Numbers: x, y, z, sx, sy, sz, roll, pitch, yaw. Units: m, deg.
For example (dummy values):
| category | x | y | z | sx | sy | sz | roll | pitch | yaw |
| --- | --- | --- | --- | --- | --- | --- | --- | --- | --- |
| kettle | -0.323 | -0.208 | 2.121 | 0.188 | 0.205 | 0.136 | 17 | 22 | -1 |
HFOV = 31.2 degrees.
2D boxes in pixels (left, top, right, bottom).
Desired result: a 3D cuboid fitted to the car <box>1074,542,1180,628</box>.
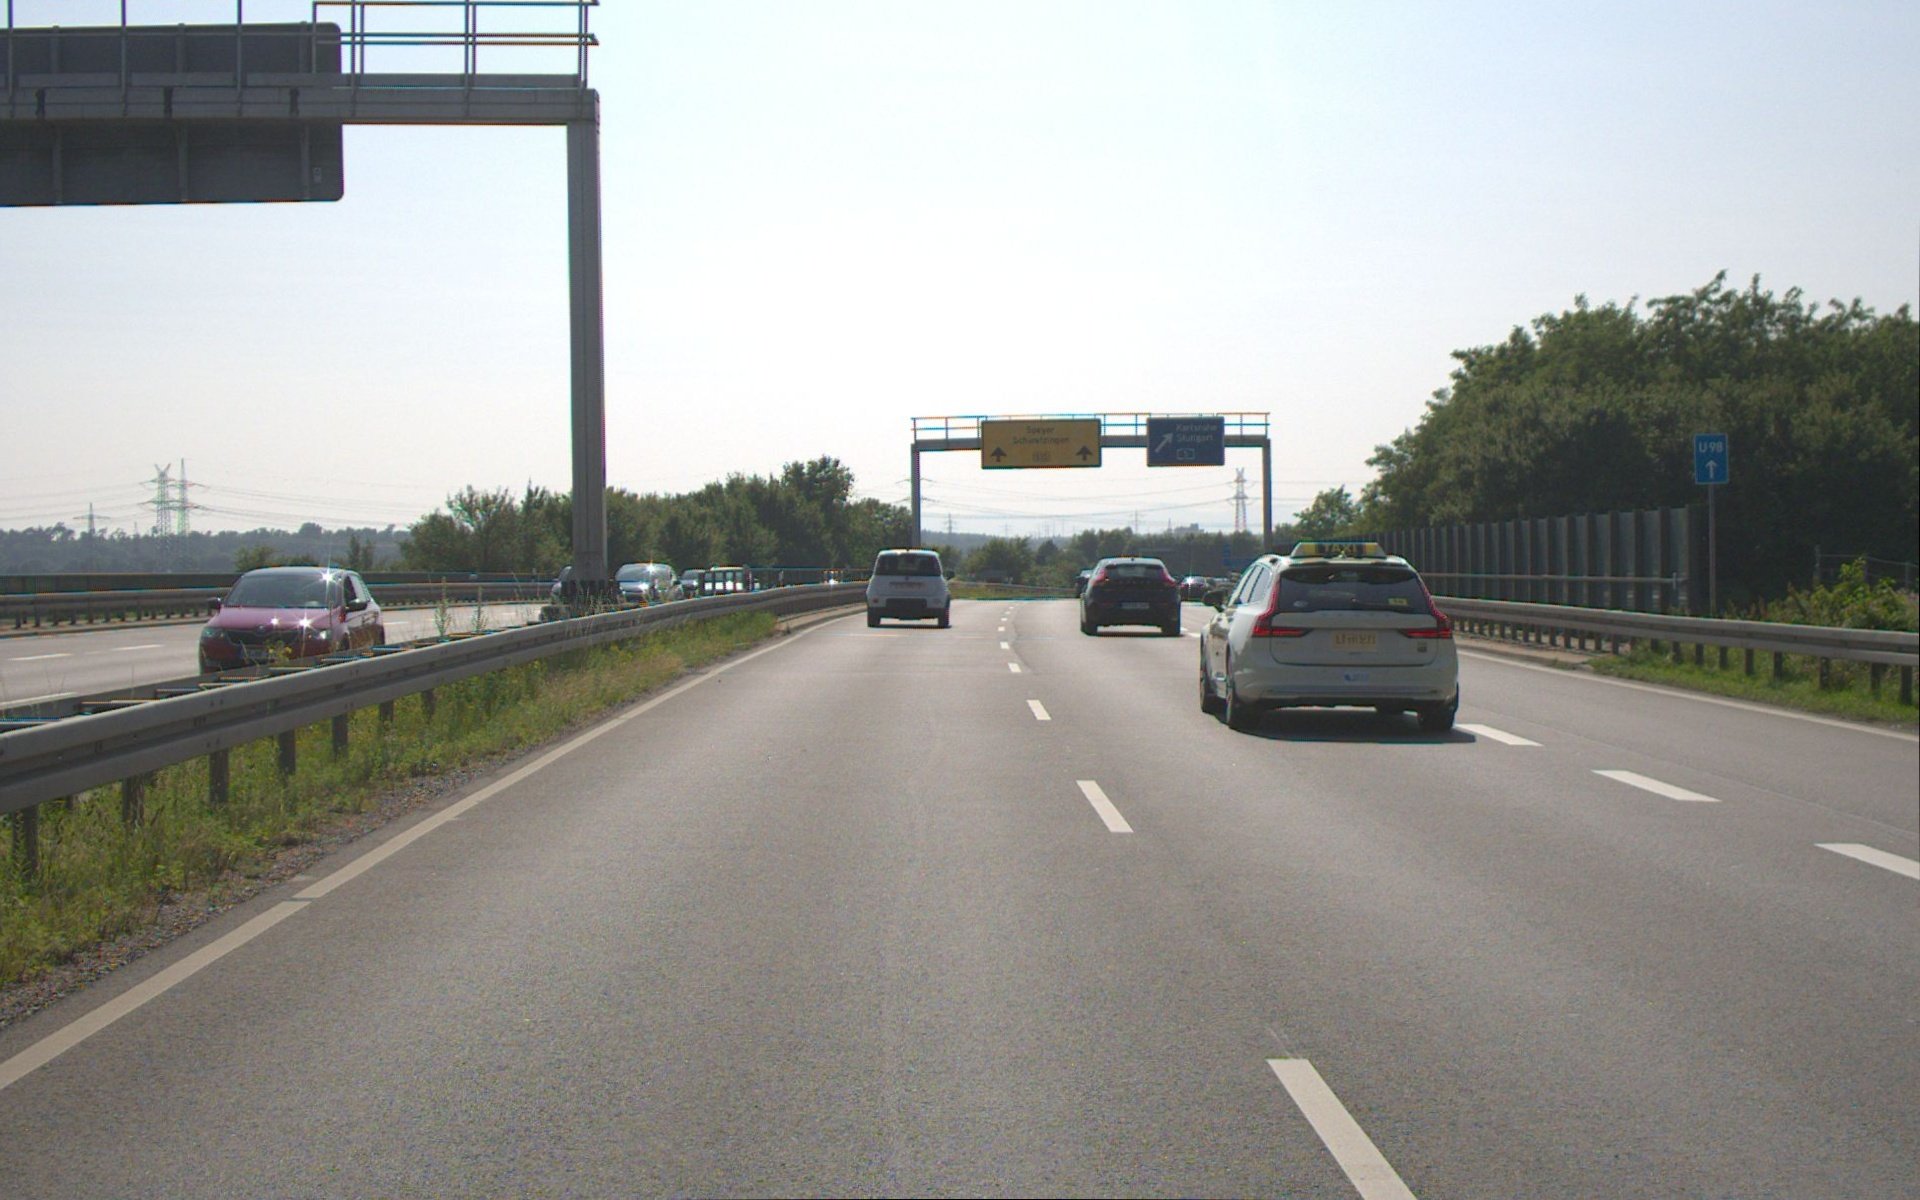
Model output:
| category | x | y | z | sx | sy | sz | roll | pitch | yaw |
| --- | --- | --- | --- | --- | --- | --- | --- | --- | --- |
| car | 3.087 | -0.273 | 64.124 | 1.793 | 1.538 | 3.671 | 1 | 0 | 0 |

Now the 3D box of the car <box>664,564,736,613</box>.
| category | x | y | z | sx | sy | sz | roll | pitch | yaw |
| --- | --- | --- | --- | --- | --- | --- | --- | --- | --- |
| car | -8.024 | -0.363 | 106.424 | 1.873 | 1.433 | 4.502 | 1 | 1 | 0 |

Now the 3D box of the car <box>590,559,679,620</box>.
| category | x | y | z | sx | sy | sz | roll | pitch | yaw |
| --- | --- | --- | --- | --- | --- | --- | --- | --- | --- |
| car | -8.358 | -0.286 | 88.467 | 1.795 | 1.468 | 4.000 | 1 | 1 | 1 |

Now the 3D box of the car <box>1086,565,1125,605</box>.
| category | x | y | z | sx | sy | sz | roll | pitch | yaw |
| --- | --- | --- | --- | --- | --- | --- | --- | --- | --- |
| car | 7.564 | -0.806 | 179.099 | 1.994 | 2.007 | 4.000 | 1 | 1 | 2 |

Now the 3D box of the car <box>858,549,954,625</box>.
| category | x | y | z | sx | sy | sz | roll | pitch | yaw |
| --- | --- | --- | --- | --- | --- | --- | --- | --- | --- |
| car | -1.073 | -0.255 | 69.710 | 1.793 | 1.498 | 4.043 | 0 | 0 | 1 |

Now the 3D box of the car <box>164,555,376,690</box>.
| category | x | y | z | sx | sy | sz | roll | pitch | yaw |
| --- | --- | --- | --- | --- | --- | --- | --- | --- | --- |
| car | -8.132 | 0.226 | 40.860 | 1.710 | 1.481 | 4.266 | 1 | 1 | -1 |

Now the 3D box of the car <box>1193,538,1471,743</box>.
| category | x | y | z | sx | sy | sz | roll | pitch | yaw |
| --- | --- | --- | --- | --- | --- | --- | --- | --- | --- |
| car | 3.109 | 0.290 | 29.487 | 1.958 | 1.596 | 4.107 | 1 | 1 | 1 |
